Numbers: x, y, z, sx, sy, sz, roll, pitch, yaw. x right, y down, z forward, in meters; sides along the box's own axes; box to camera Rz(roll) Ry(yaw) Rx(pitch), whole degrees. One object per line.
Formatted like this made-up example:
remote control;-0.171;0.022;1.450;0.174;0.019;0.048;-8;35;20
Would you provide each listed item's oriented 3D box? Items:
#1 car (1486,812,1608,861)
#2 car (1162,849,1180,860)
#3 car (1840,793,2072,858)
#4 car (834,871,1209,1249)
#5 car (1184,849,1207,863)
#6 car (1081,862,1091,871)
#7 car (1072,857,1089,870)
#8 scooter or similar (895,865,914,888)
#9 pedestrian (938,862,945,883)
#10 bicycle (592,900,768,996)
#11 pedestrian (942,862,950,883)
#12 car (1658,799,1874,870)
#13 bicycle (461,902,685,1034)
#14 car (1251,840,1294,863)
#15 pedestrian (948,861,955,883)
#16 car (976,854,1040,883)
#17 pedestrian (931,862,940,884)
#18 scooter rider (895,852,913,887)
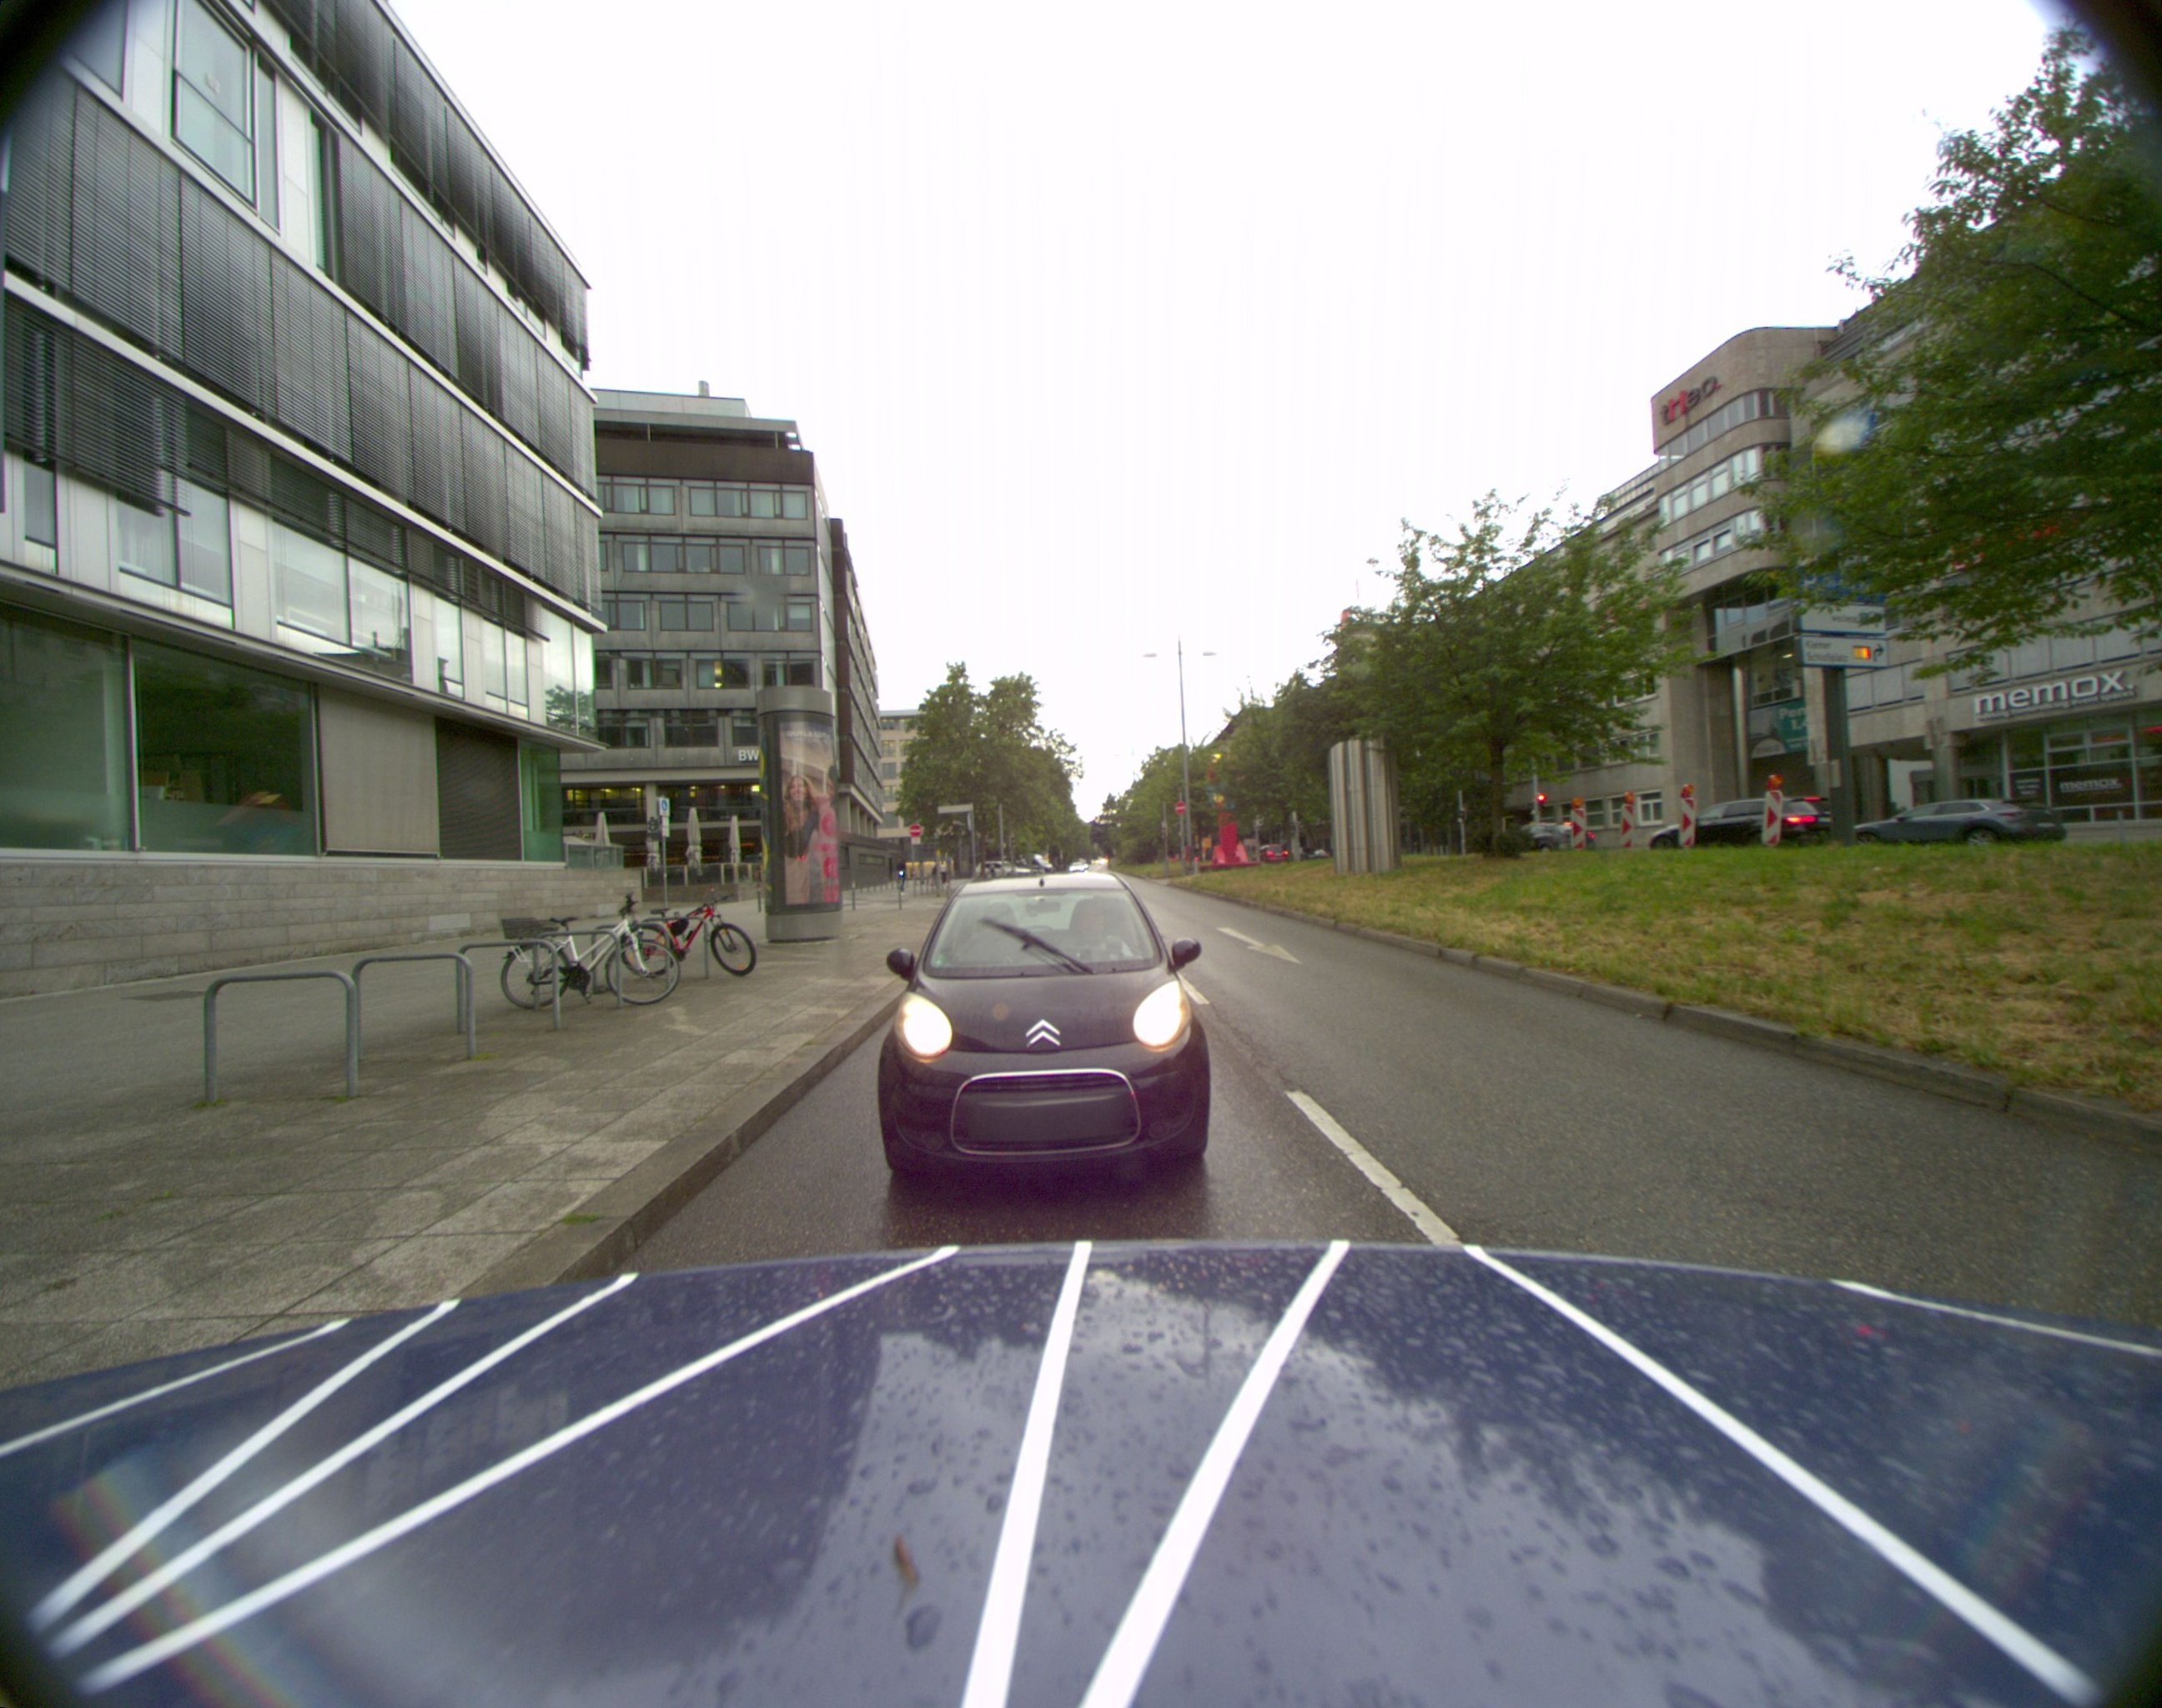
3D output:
car;17.542;-0.617;28.852;1.880;1.571;4.106;-5;0;-3
car;13.799;0.045;116.482;2.073;1.578;4.106;-5;0;-3
car;24.692;-0.731;21.698;1.575;1.571;4.105;-5;0;-7
car;-0.307;0.959;5.245;1.595;1.501;3.708;-3;0;-2
car;14.547;0.240;96.535;2.073;1.578;4.106;-5;0;-3
car;0.928;2.335;141.803;1.606;1.377;3.018;-5;0;-3
car;-0.115;1.301;105.371;2.073;1.578;4.106;-5;0;-3
scooter or similar;-10.374;1.321;44.680;0.780;1.298;1.335;-2;0;1
pedestrian;-11.166;1.475;60.794;0.452;1.692;0.547;-2;1;-2
bicycle;-5.134;1.188;9.811;1.876;1.103;0.669;-1;0;-2
pedestrian;-10.818;1.461;60.877;0.452;1.692;0.497;-2;1;-2
car;18.107;-0.483;20.398;1.880;1.571;4.106;-5;0;-3
bicycle;-5.241;1.146;7.939;1.797;1.199;0.669;-1;0;-9
car;14.979;-0.200;59.662;2.073;1.578;4.106;-5;0;-3
pedestrian;-10.407;1.444;60.952;0.452;1.692;0.497;-2;1;-2
car;-5.364;1.053;55.511;4.202;1.801;2.003;-4;1;32
pedestrian;-11.648;1.494;60.744;0.552;1.692;0.547;-2;1;-2
scooter rider;-10.390;0.918;44.634;0.780;2.009;0.924;-2;1;1
